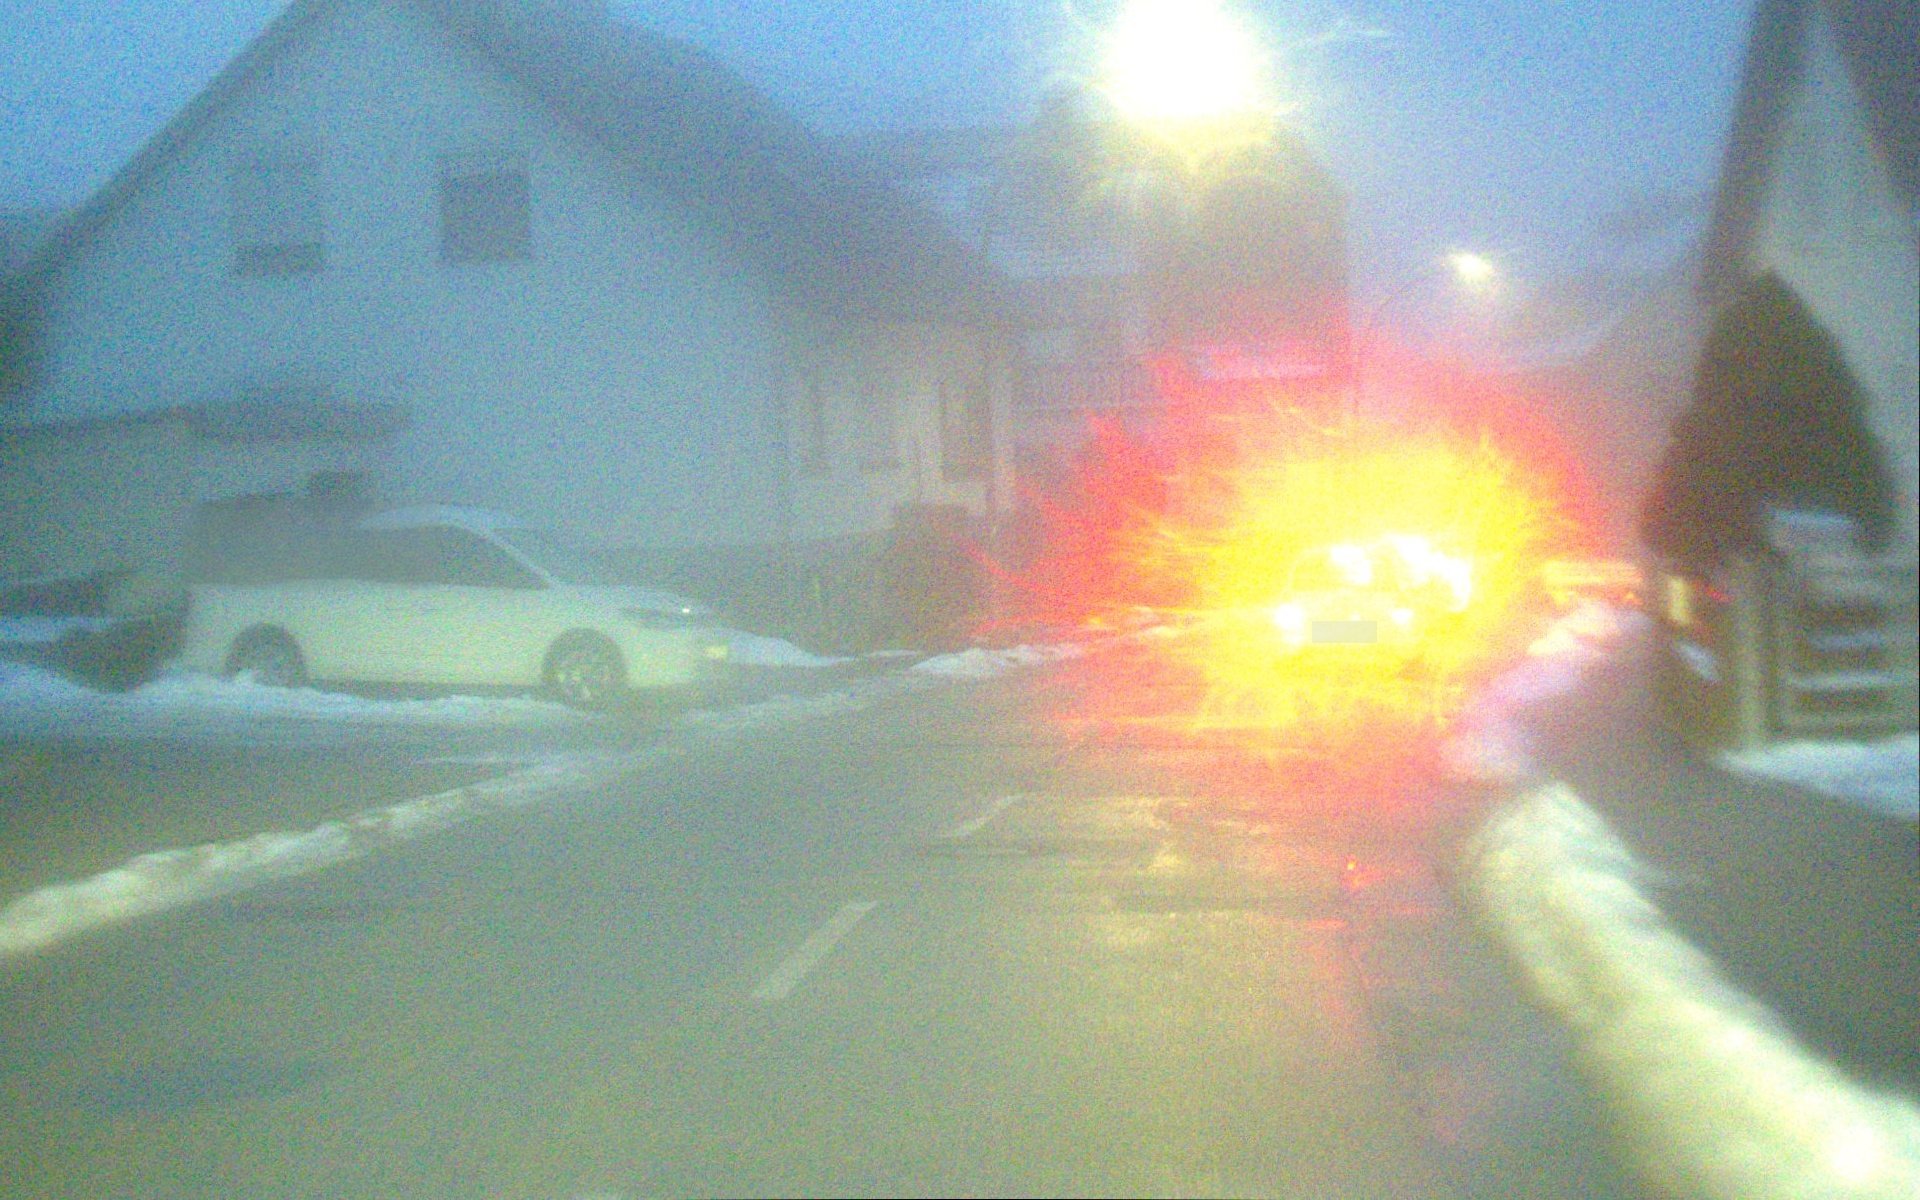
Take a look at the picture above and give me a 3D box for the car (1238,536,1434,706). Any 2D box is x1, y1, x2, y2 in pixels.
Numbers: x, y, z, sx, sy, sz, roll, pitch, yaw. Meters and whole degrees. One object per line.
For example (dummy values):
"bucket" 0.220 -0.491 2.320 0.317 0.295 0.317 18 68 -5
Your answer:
"car" 4.395 0.200 39.704 1.994 1.502 4.000 -3 4 9

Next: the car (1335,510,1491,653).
"car" 7.181 -0.320 54.159 1.994 1.831 3.999 -3 4 13

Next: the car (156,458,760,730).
"car" -4.396 -0.065 30.333 4.735 2.006 1.999 -3 4 15

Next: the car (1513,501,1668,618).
"car" 11.447 -0.764 62.162 2.252 1.634 4.847 -3 4 16

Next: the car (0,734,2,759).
"car" -8.341 0.002 22.154 3.986 2.269 2.001 -5 4 -16
